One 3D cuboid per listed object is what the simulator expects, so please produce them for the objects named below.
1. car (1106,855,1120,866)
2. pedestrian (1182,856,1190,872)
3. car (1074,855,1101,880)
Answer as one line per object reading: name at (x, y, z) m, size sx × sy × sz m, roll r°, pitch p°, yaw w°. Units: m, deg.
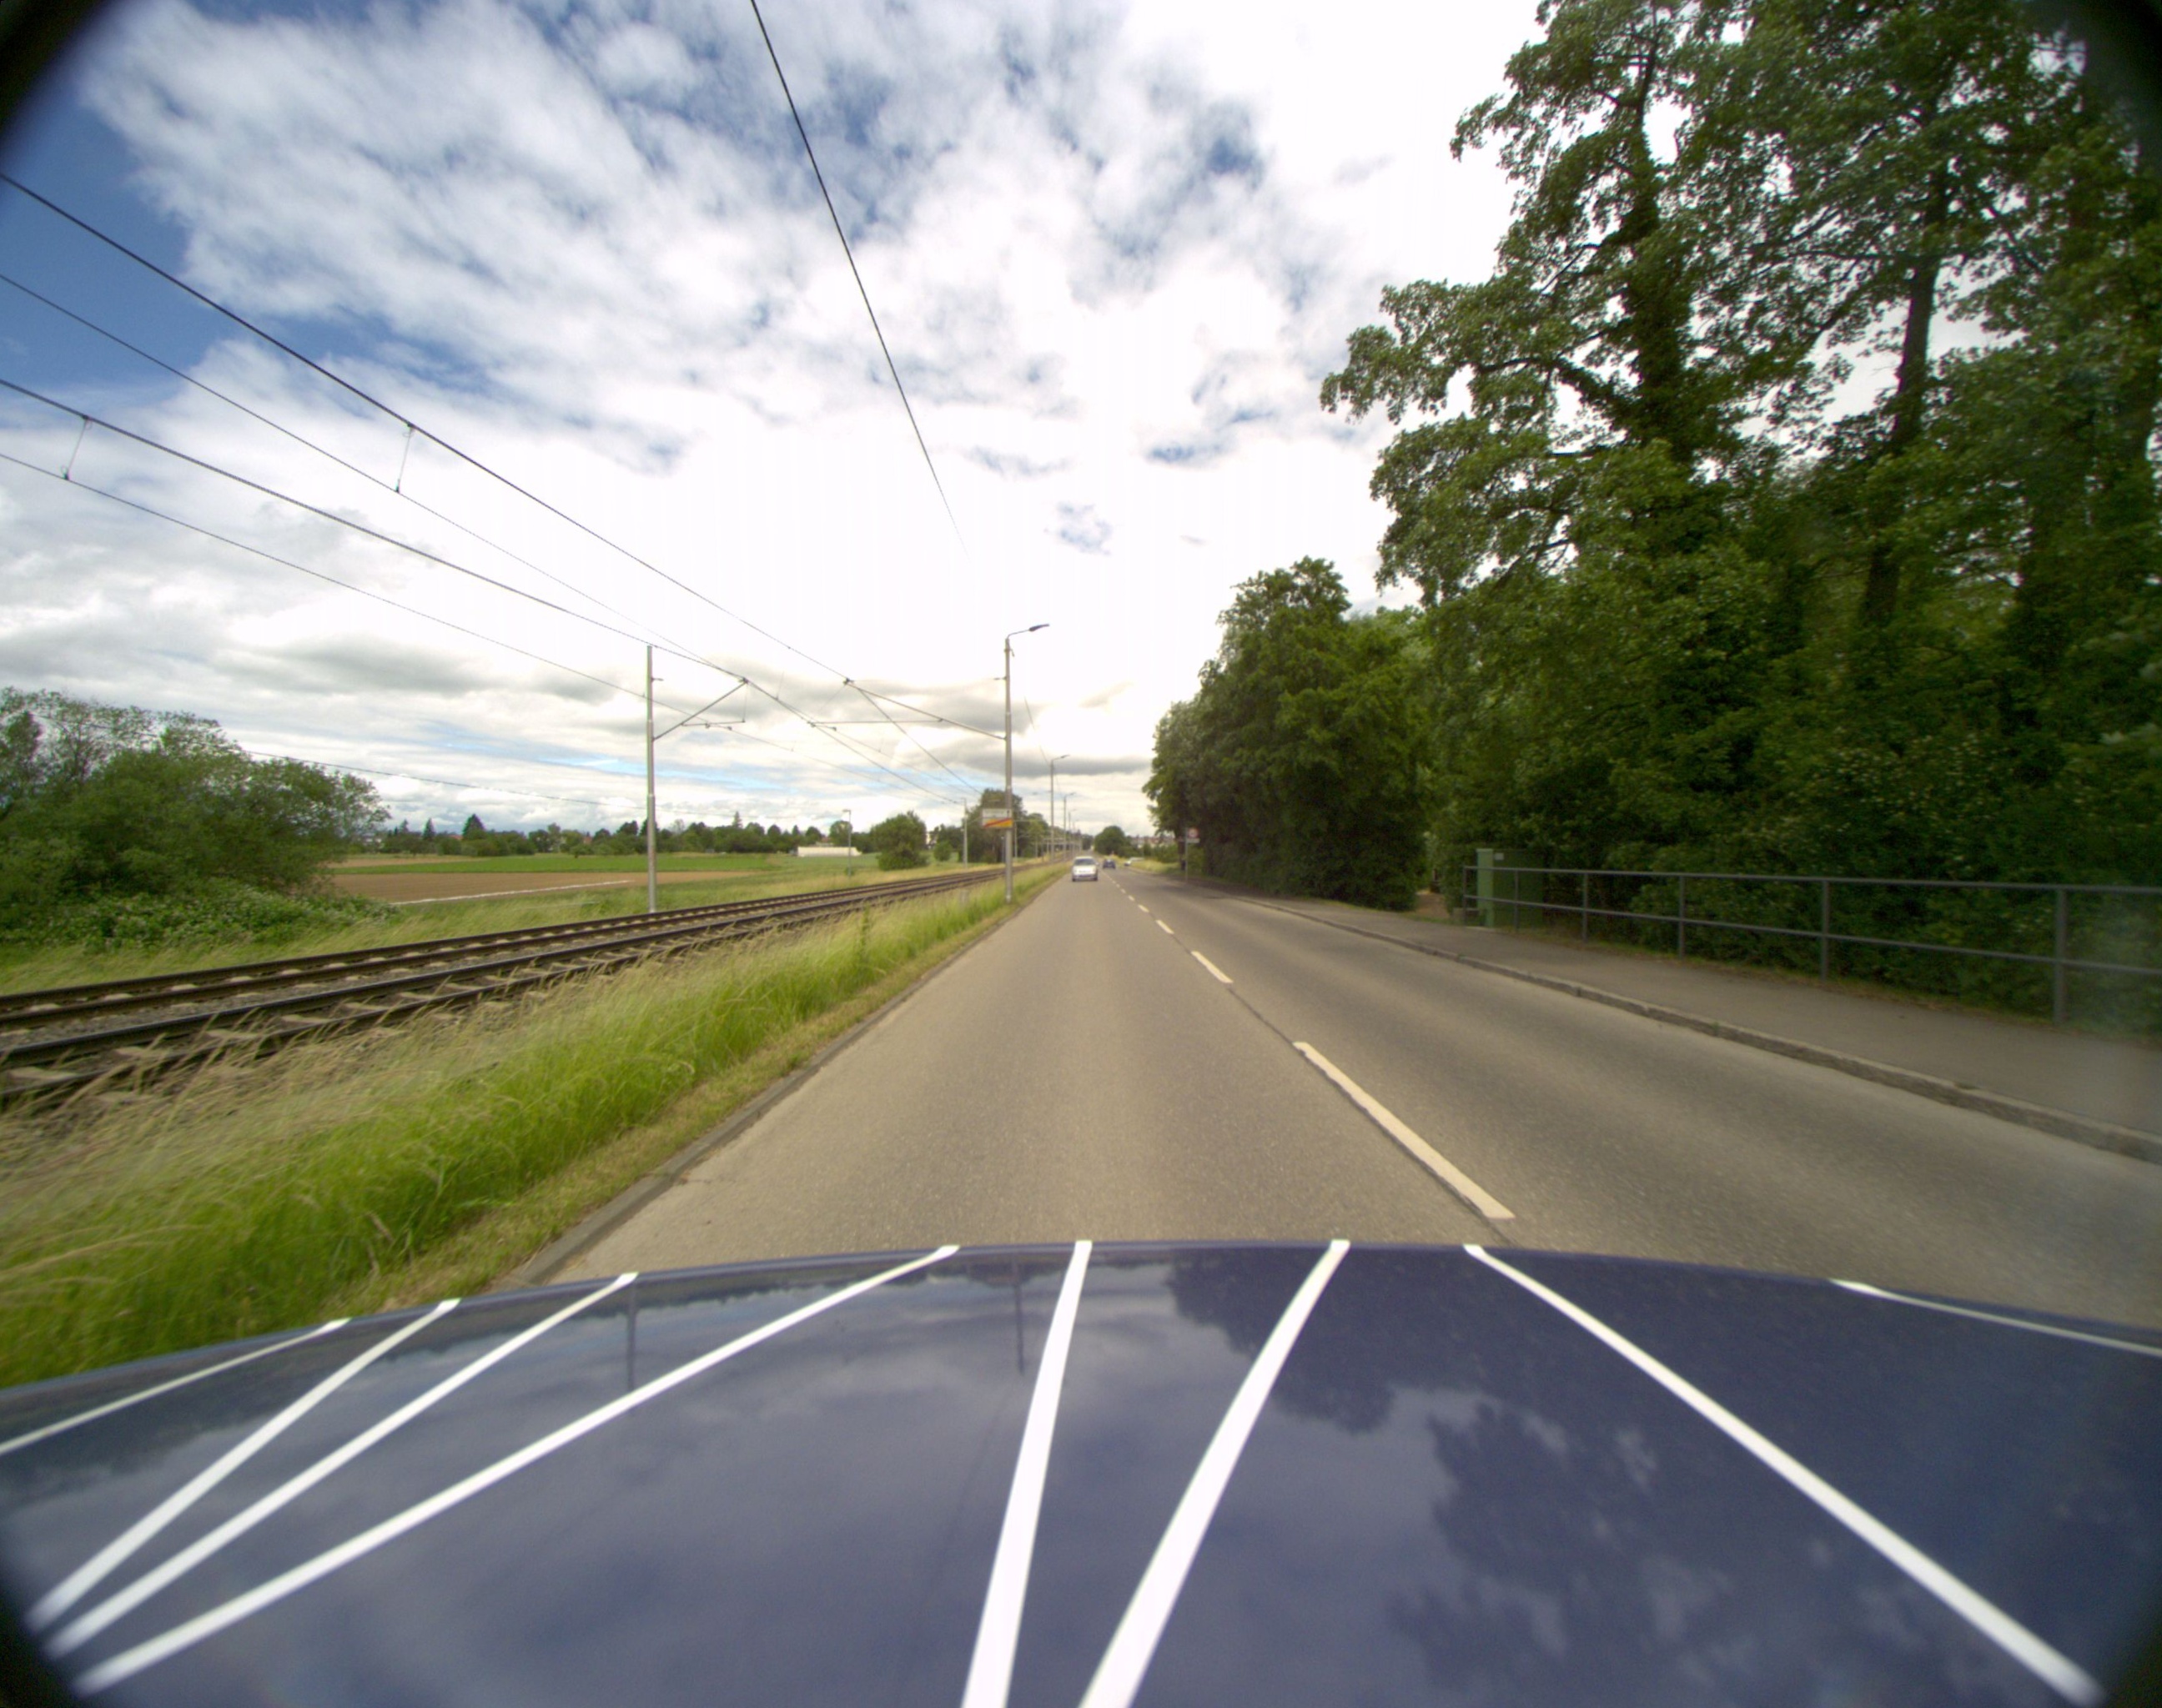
car at (4.444, 0.885, 106.235) m, size 1.711 × 1.519 × 3.824 m, roll 1°, pitch 0°, yaw 1°
pedestrian at (10.200, 0.995, 73.685) m, size 0.706 × 1.584 × 0.707 m, roll 0°, pitch -1°, yaw 11°
car at (0.435, 0.873, 50.751) m, size 1.643 × 1.510 × 3.868 m, roll -2°, pitch 1°, yaw 1°
